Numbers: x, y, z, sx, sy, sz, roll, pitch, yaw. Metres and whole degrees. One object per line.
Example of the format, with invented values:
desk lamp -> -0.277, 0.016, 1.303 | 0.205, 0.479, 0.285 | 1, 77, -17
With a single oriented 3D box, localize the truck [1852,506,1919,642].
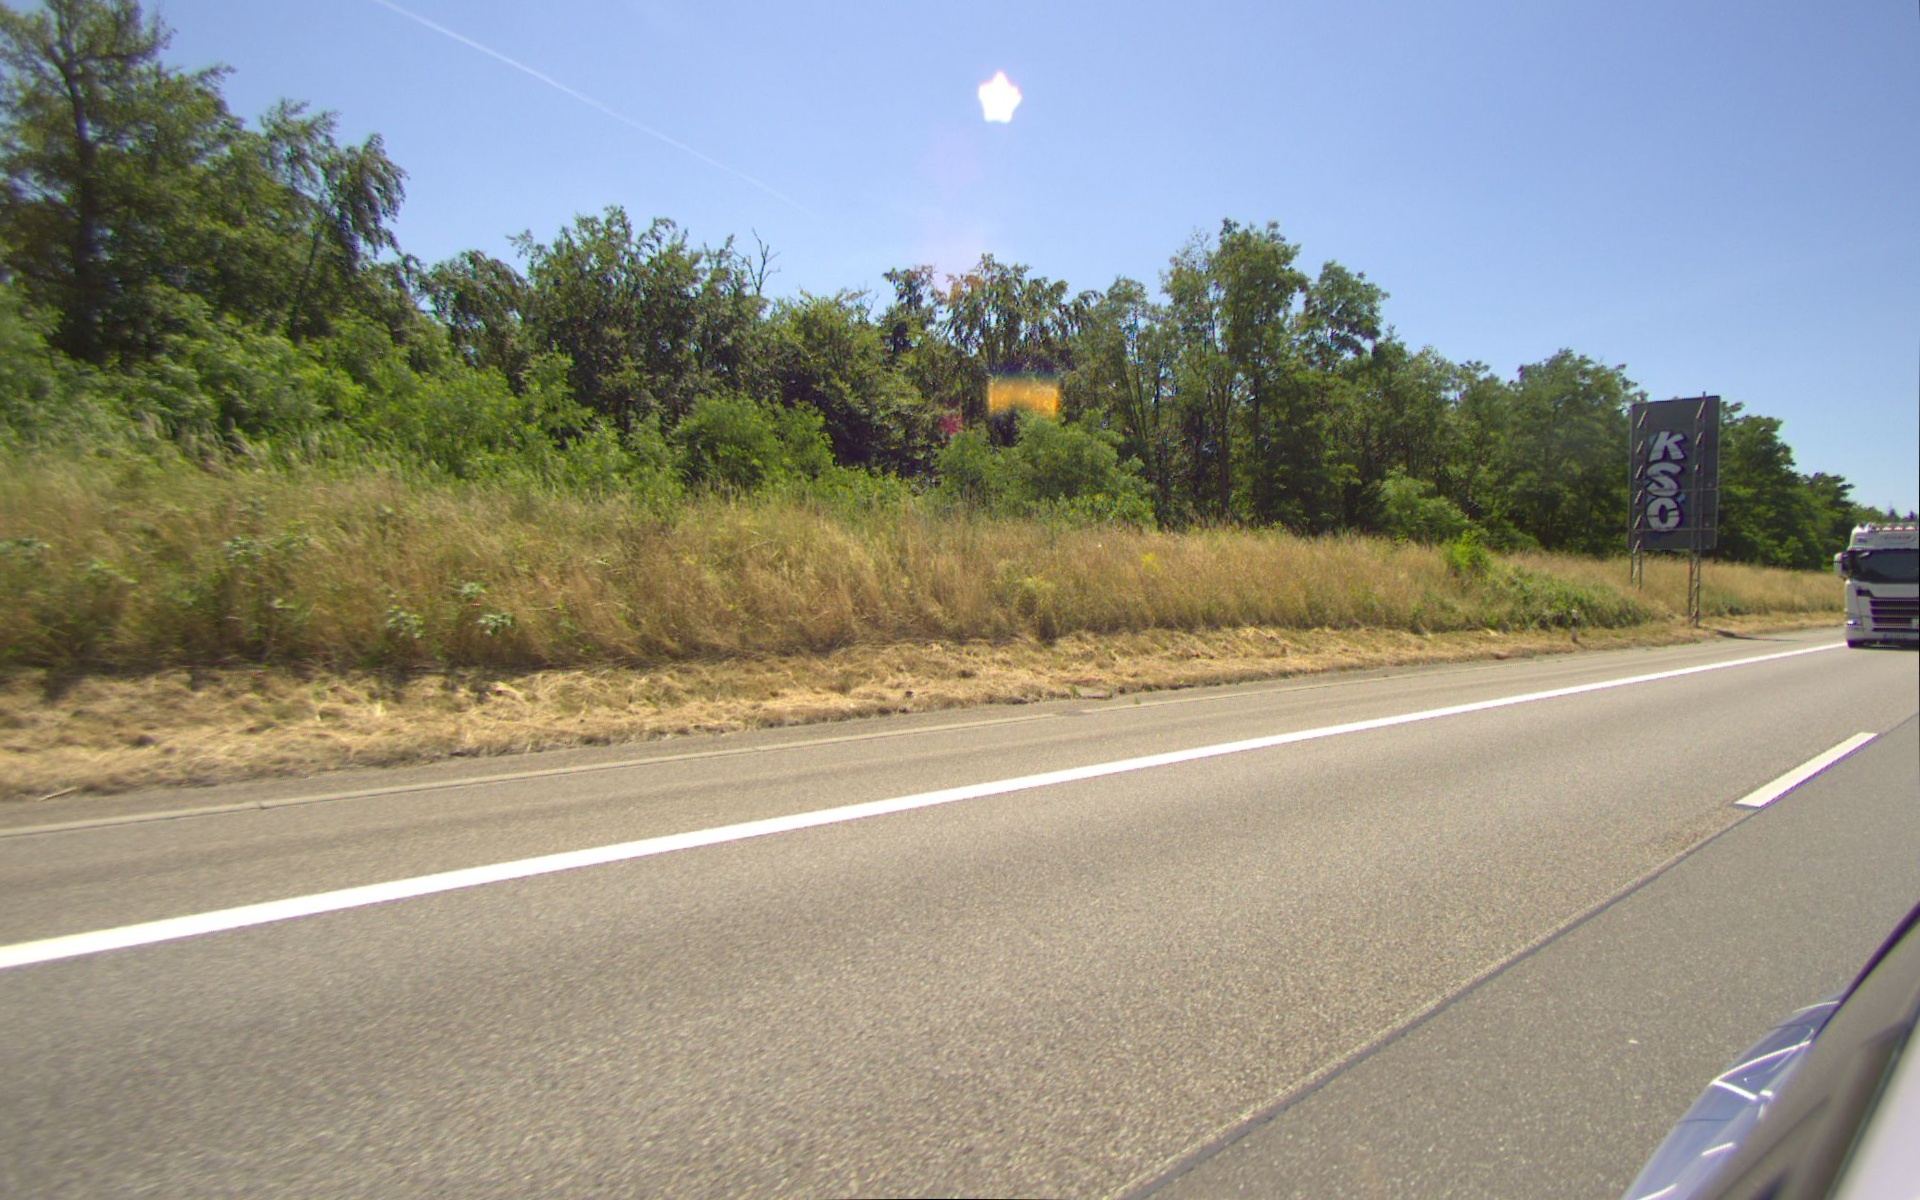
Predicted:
truck -> 29.686, -0.761, 31.145 | 5.865, 3.882, 2.603 | 0, 0, -41

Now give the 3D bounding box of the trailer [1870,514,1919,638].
trailer -> 33.334, -0.774, 34.338 | 8.547, 3.882, 2.603 | 0, 0, -41
